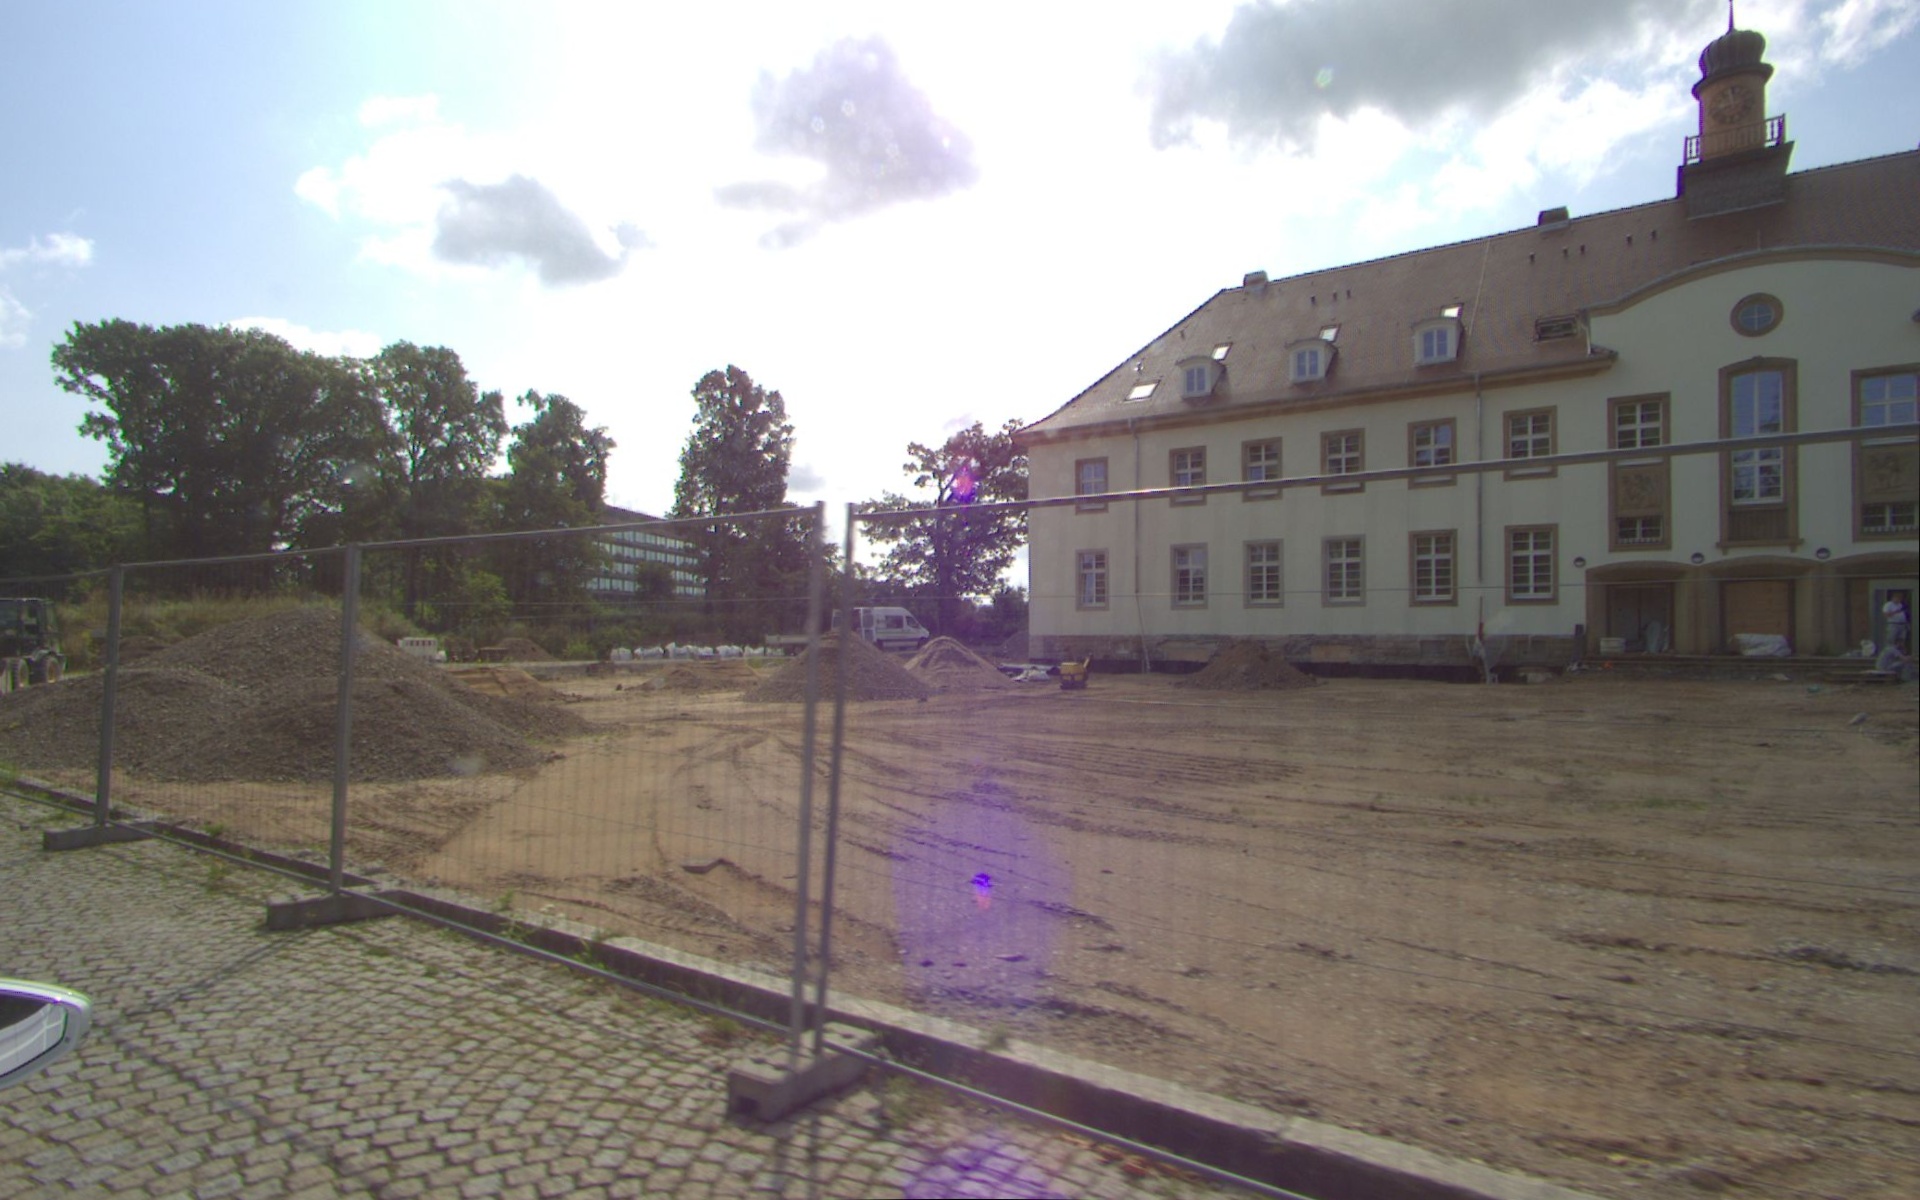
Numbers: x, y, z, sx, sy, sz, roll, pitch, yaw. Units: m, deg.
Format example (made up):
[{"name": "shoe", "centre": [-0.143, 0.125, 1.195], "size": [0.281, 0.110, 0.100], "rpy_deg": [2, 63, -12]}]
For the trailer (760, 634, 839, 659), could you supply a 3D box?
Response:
[{"name": "trailer", "centre": [-8.998, 2.610, 56.259], "size": [3.945, 1.371, 2.077], "rpy_deg": [1, -2, -31]}]

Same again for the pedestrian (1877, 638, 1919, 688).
[{"name": "pedestrian", "centre": [23.854, 1.591, 25.436], "size": [0.713, 1.225, 0.666], "rpy_deg": [-1, -1, 34]}]

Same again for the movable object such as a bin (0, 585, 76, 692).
[{"name": "movable object such as a bin", "centre": [-25.386, 1.006, 26.269], "size": [2.103, 2.626, 4.772], "rpy_deg": [1, -2, -27]}]

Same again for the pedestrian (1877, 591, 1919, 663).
[{"name": "pedestrian", "centre": [24.787, 0.710, 26.427], "size": [0.724, 1.858, 0.644], "rpy_deg": [-1, -1, 32]}]

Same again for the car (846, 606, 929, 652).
[{"name": "car", "centre": [-4.306, 1.760, 60.005], "size": [4.772, 2.676, 2.036], "rpy_deg": [2, -2, -44]}]
